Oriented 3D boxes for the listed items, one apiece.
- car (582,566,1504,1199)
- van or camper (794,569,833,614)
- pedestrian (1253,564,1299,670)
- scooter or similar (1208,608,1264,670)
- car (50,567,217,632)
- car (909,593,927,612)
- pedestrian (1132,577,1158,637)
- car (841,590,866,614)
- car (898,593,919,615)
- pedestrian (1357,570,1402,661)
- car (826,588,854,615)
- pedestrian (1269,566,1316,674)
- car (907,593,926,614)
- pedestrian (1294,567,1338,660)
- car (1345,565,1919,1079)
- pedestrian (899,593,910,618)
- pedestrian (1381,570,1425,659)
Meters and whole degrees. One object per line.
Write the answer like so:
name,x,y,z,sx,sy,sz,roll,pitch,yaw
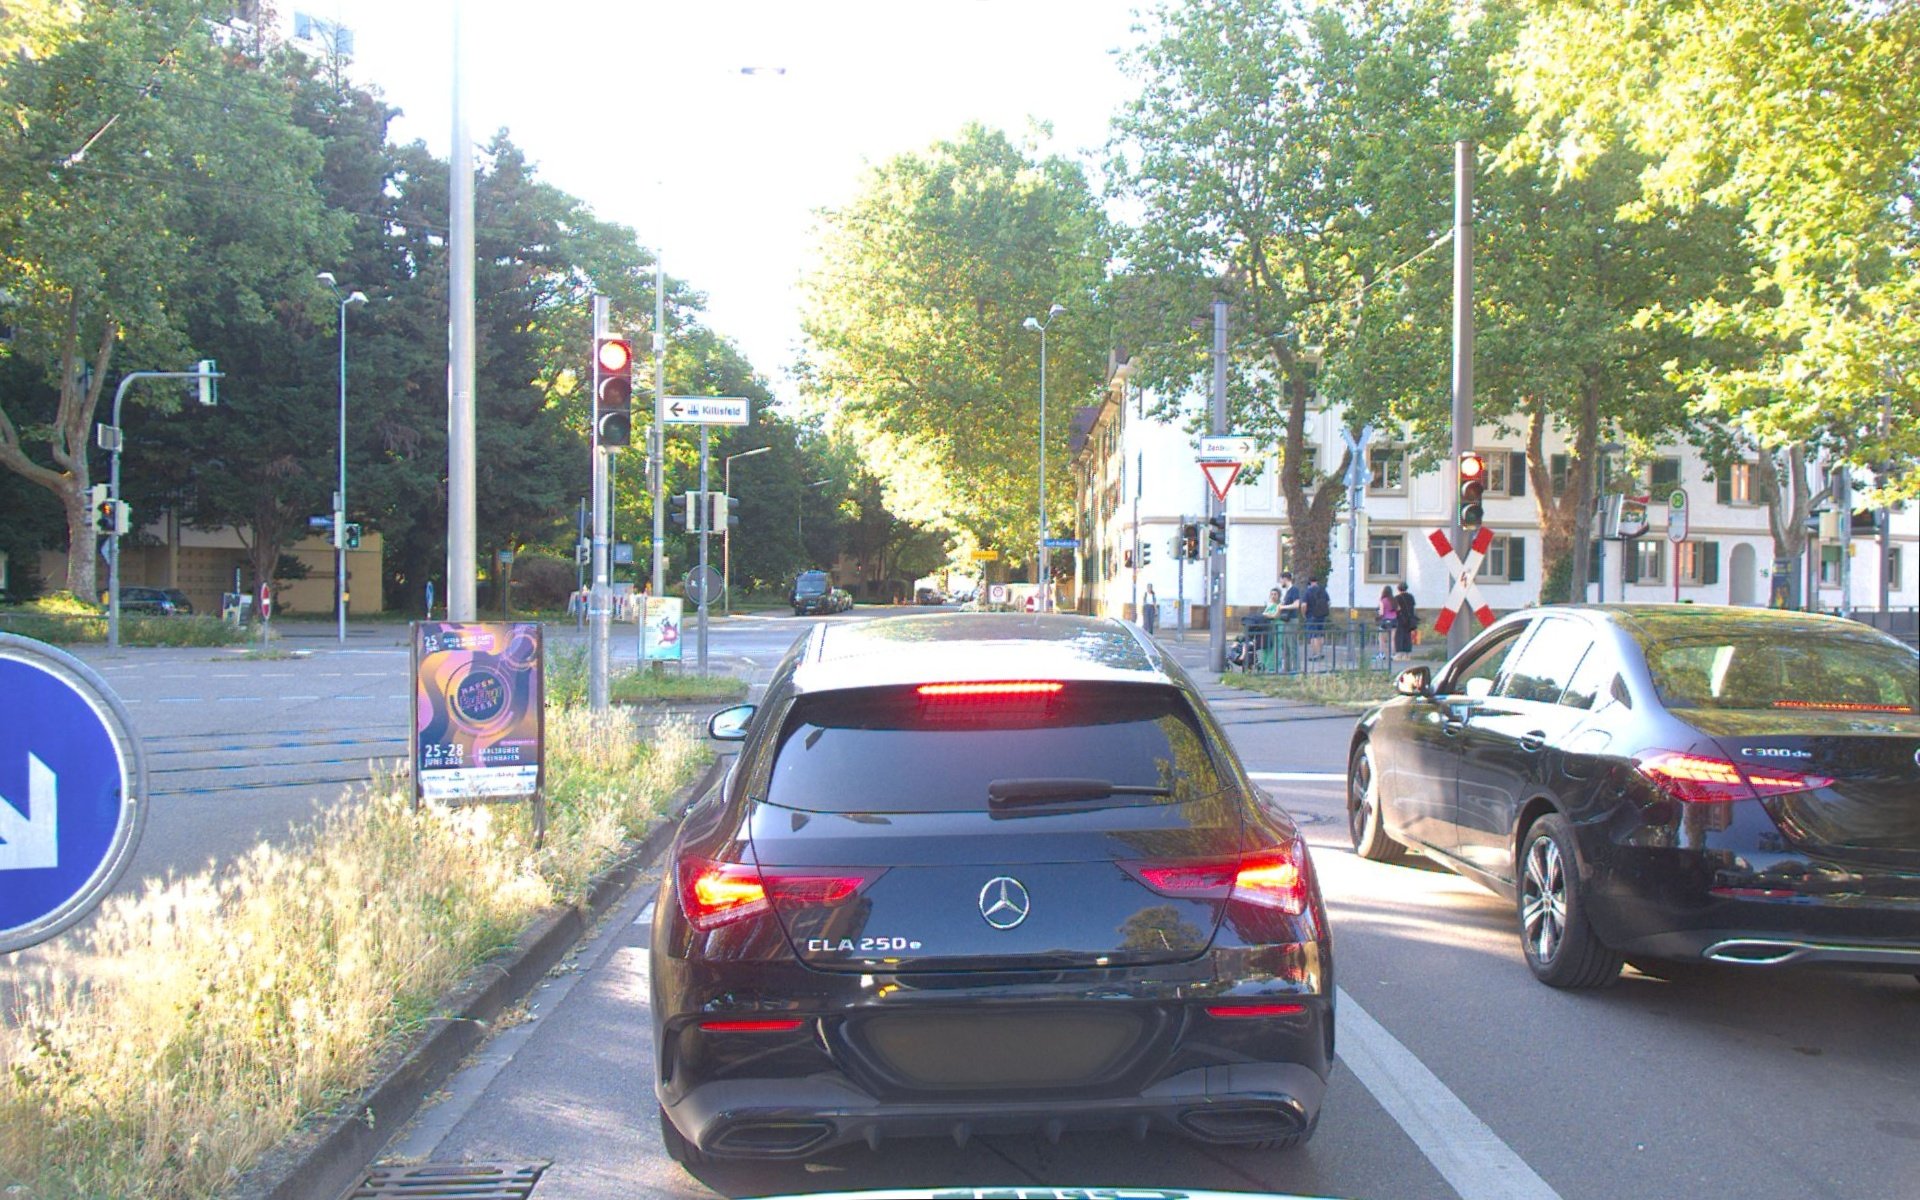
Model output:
car,0.182,0.681,5.365,1.851,1.475,4.001,1,2,0
van or camper,-8.787,-0.479,99.617,1.953,2.586,4.650,1,0,-1
pedestrian,5.913,0.309,30.981,0.669,1.951,0.706,1,-1,-5
scooter or similar,5.096,0.716,30.555,0.812,1.124,0.808,1,0,-6
car,-24.375,-0.005,48.857,3.902,1.805,2.001,1,0,7
car,-3.993,0.214,158.407,1.698,1.796,4.018,1,0,-1
pedestrian,6.114,0.229,54.800,0.691,1.951,0.838,1,-1,-4
car,-8.126,0.151,126.283,1.698,1.796,3.970,1,0,-1
car,-4.520,0.356,145.494,1.698,1.796,4.018,1,0,-1
pedestrian,9.069,0.331,35.807,0.691,1.951,0.838,1,-1,-4
car,-8.473,0.107,117.094,1.698,1.796,4.084,1,0,-1
pedestrian,6.070,0.362,30.211,0.669,1.951,0.707,1,-1,-3
car,-3.945,0.325,150.324,1.698,1.796,4.018,1,0,-1
pedestrian,7.581,0.282,35.272,0.691,1.951,0.838,1,-1,-4
car,3.180,0.661,7.348,1.851,1.516,4.381,1,2,-1
pedestrian,-4.357,0.461,129.959,0.692,1.951,0.837,1,-1,-11
pedestrian,9.860,0.318,36.819,0.691,1.951,0.838,1,-1,-4
